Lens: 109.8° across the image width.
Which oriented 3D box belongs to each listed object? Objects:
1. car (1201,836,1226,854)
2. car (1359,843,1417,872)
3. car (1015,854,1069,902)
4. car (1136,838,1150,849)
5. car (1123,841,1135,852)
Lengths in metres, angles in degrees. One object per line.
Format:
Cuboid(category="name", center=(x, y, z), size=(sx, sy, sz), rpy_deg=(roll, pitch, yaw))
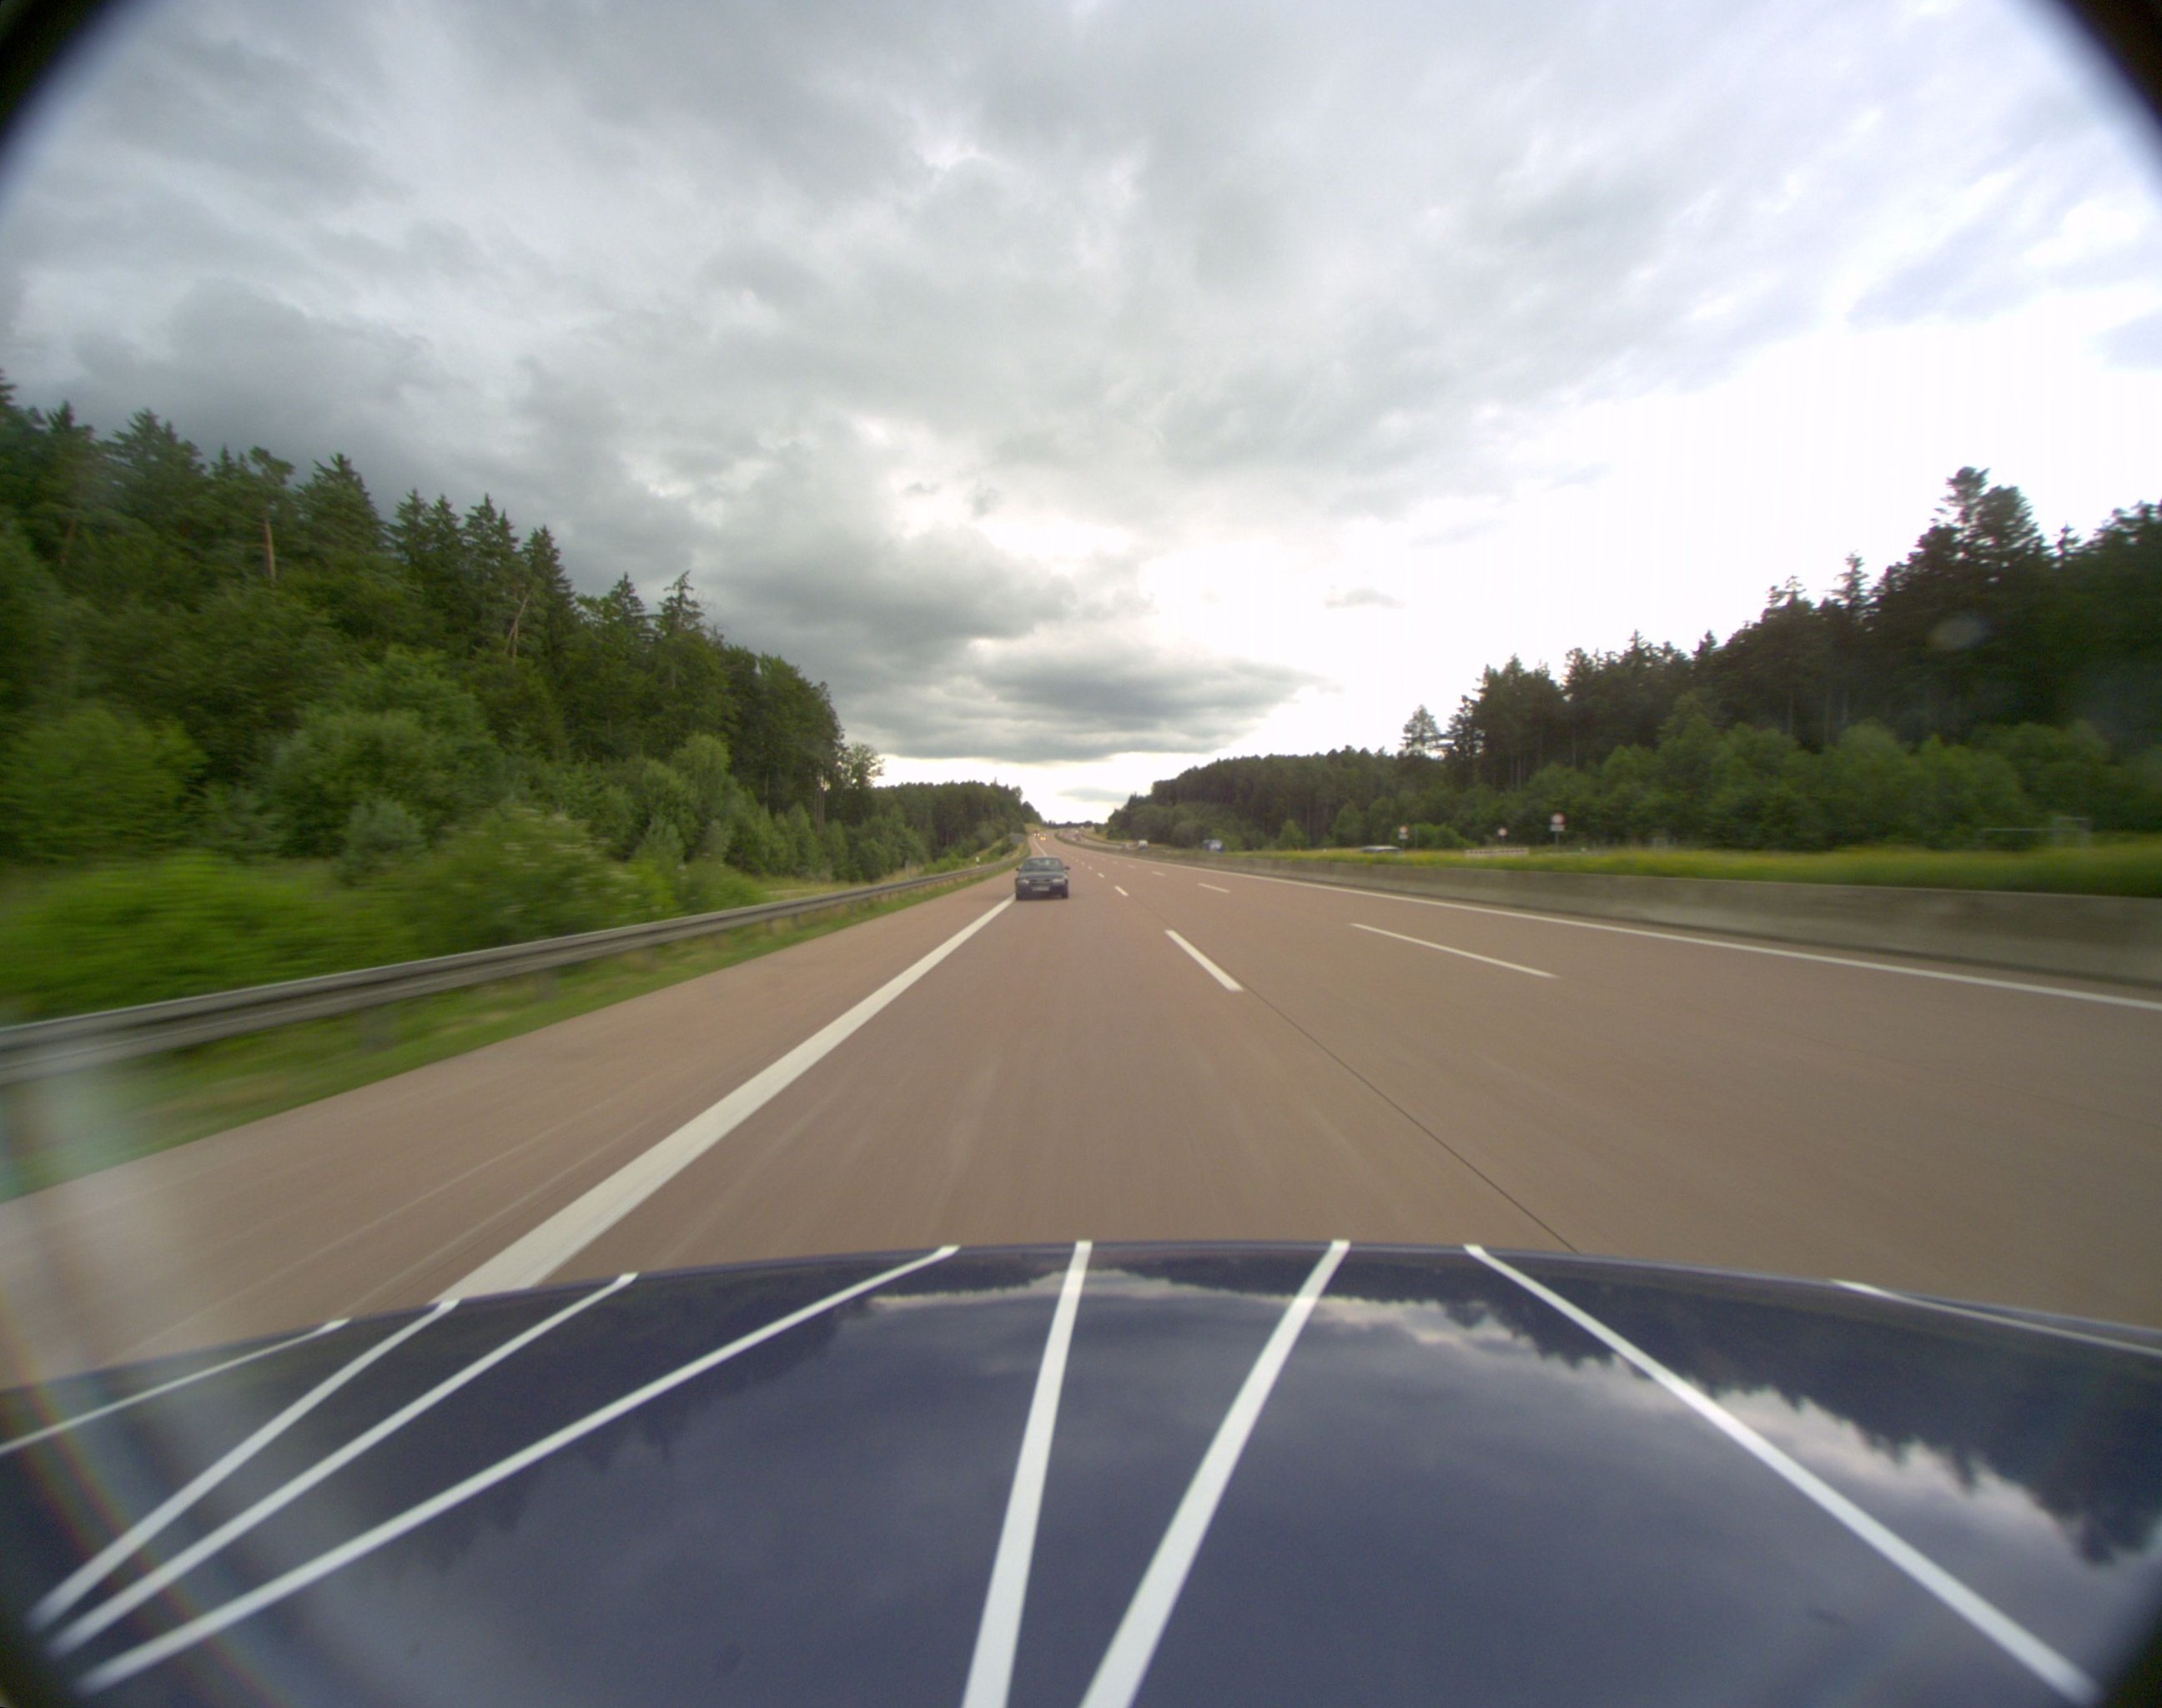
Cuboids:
Cuboid(category="car", center=(17.399, -1.188, 99.911), size=(1.999, 2.229, 6.039), rpy_deg=(-2, 1, -2))
Cuboid(category="car", center=(15.756, 0.150, 39.106), size=(1.528, 1.395, 3.554), rpy_deg=(-1, 1, 0))
Cuboid(category="car", center=(-1.313, 0.768, 26.212), size=(1.676, 1.395, 4.231), rpy_deg=(-1, 1, -2))
Cuboid(category="car", center=(15.794, -2.764, 192.994), size=(2.466, 2.595, 7.325), rpy_deg=(-2, 2, -3))
Cuboid(category="car", center=(11.895, -1.853, 188.848), size=(2.039, 2.595, 6.351), rpy_deg=(-2, 2, -3))
